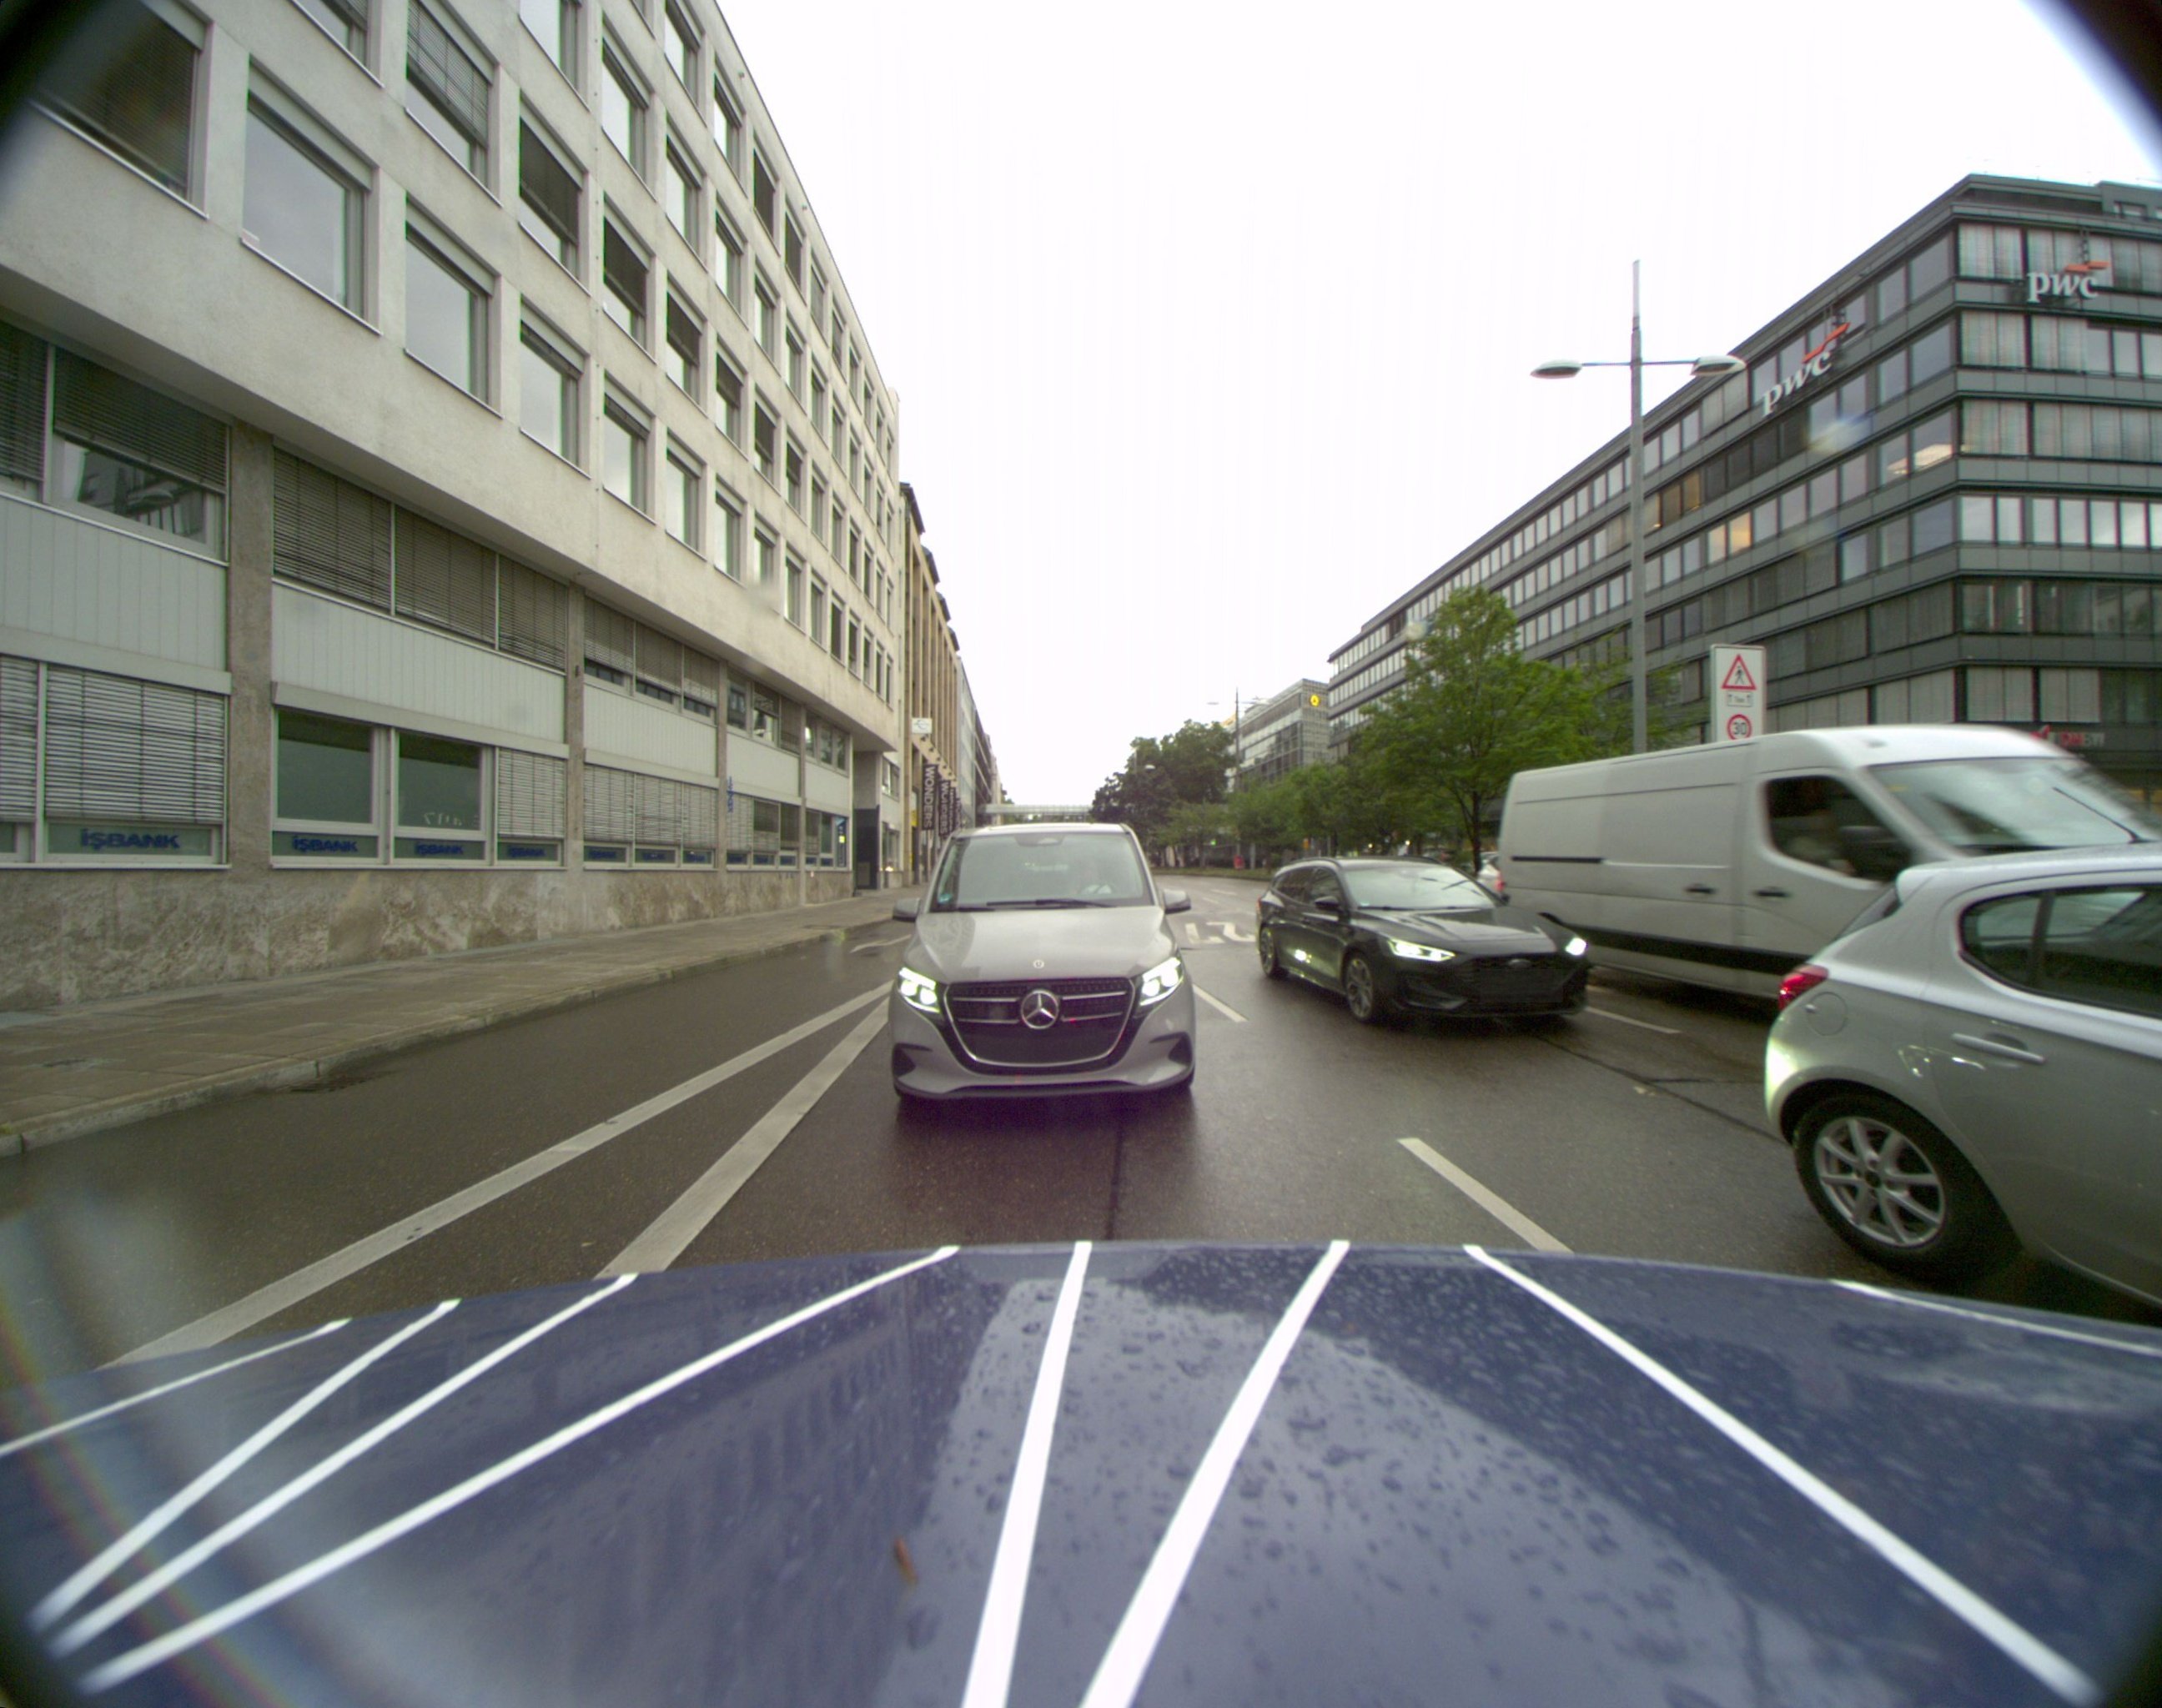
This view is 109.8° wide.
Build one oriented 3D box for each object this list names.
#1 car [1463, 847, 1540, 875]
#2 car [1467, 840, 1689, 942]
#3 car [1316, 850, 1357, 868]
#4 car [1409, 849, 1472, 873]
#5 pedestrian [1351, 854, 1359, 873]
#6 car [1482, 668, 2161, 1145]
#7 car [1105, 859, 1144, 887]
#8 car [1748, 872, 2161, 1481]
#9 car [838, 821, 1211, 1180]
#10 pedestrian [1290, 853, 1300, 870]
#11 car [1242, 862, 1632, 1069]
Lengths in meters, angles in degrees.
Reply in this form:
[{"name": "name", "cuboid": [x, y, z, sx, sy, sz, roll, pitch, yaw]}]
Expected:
[{"name": "car", "cuboid": [24.083, 0.389, 43.665, 1.999, 1.498, 3.999, -2, 0, -4]}, {"name": "car", "cuboid": [8.998, 0.608, 14.134, 1.766, 1.608, 3.495, -2, 0, -1]}, {"name": "car", "cuboid": [22.371, 0.459, 66.668, 1.999, 1.498, 3.999, -2, 0, -4]}, {"name": "car", "cuboid": [23.625, 0.449, 50.123, 1.999, 1.498, 4.106, -2, 0, -4]}, {"name": "pedestrian", "cuboid": [29.418, 1.013, 81.580, 0.689, 2.002, 0.501, -2, 0, -3]}, {"name": "car", "cuboid": [6.155, 0.250, 6.673, 1.952, 2.426, 5.478, -2, 0, -5]}, {"name": "car", "cuboid": [2.351, 1.002, 41.594, 1.776, 1.372, 4.094, -2, 0, -1]}, {"name": "car", "cuboid": [3.488, 0.811, 1.067, 1.652, 1.427, 3.875, -2, 0, 0]}, {"name": "car", "cuboid": [-0.316, 0.784, 6.562, 1.916, 1.844, 5.026, -2, 0, 0]}, {"name": "pedestrian", "cuboid": [24.707, 0.883, 87.772, 0.928, 2.002, 0.539, -2, 0, -1]}, {"name": "car", "cuboid": [3.088, 0.840, 7.671, 1.776, 1.427, 4.093, -2, 0, -4]}]
